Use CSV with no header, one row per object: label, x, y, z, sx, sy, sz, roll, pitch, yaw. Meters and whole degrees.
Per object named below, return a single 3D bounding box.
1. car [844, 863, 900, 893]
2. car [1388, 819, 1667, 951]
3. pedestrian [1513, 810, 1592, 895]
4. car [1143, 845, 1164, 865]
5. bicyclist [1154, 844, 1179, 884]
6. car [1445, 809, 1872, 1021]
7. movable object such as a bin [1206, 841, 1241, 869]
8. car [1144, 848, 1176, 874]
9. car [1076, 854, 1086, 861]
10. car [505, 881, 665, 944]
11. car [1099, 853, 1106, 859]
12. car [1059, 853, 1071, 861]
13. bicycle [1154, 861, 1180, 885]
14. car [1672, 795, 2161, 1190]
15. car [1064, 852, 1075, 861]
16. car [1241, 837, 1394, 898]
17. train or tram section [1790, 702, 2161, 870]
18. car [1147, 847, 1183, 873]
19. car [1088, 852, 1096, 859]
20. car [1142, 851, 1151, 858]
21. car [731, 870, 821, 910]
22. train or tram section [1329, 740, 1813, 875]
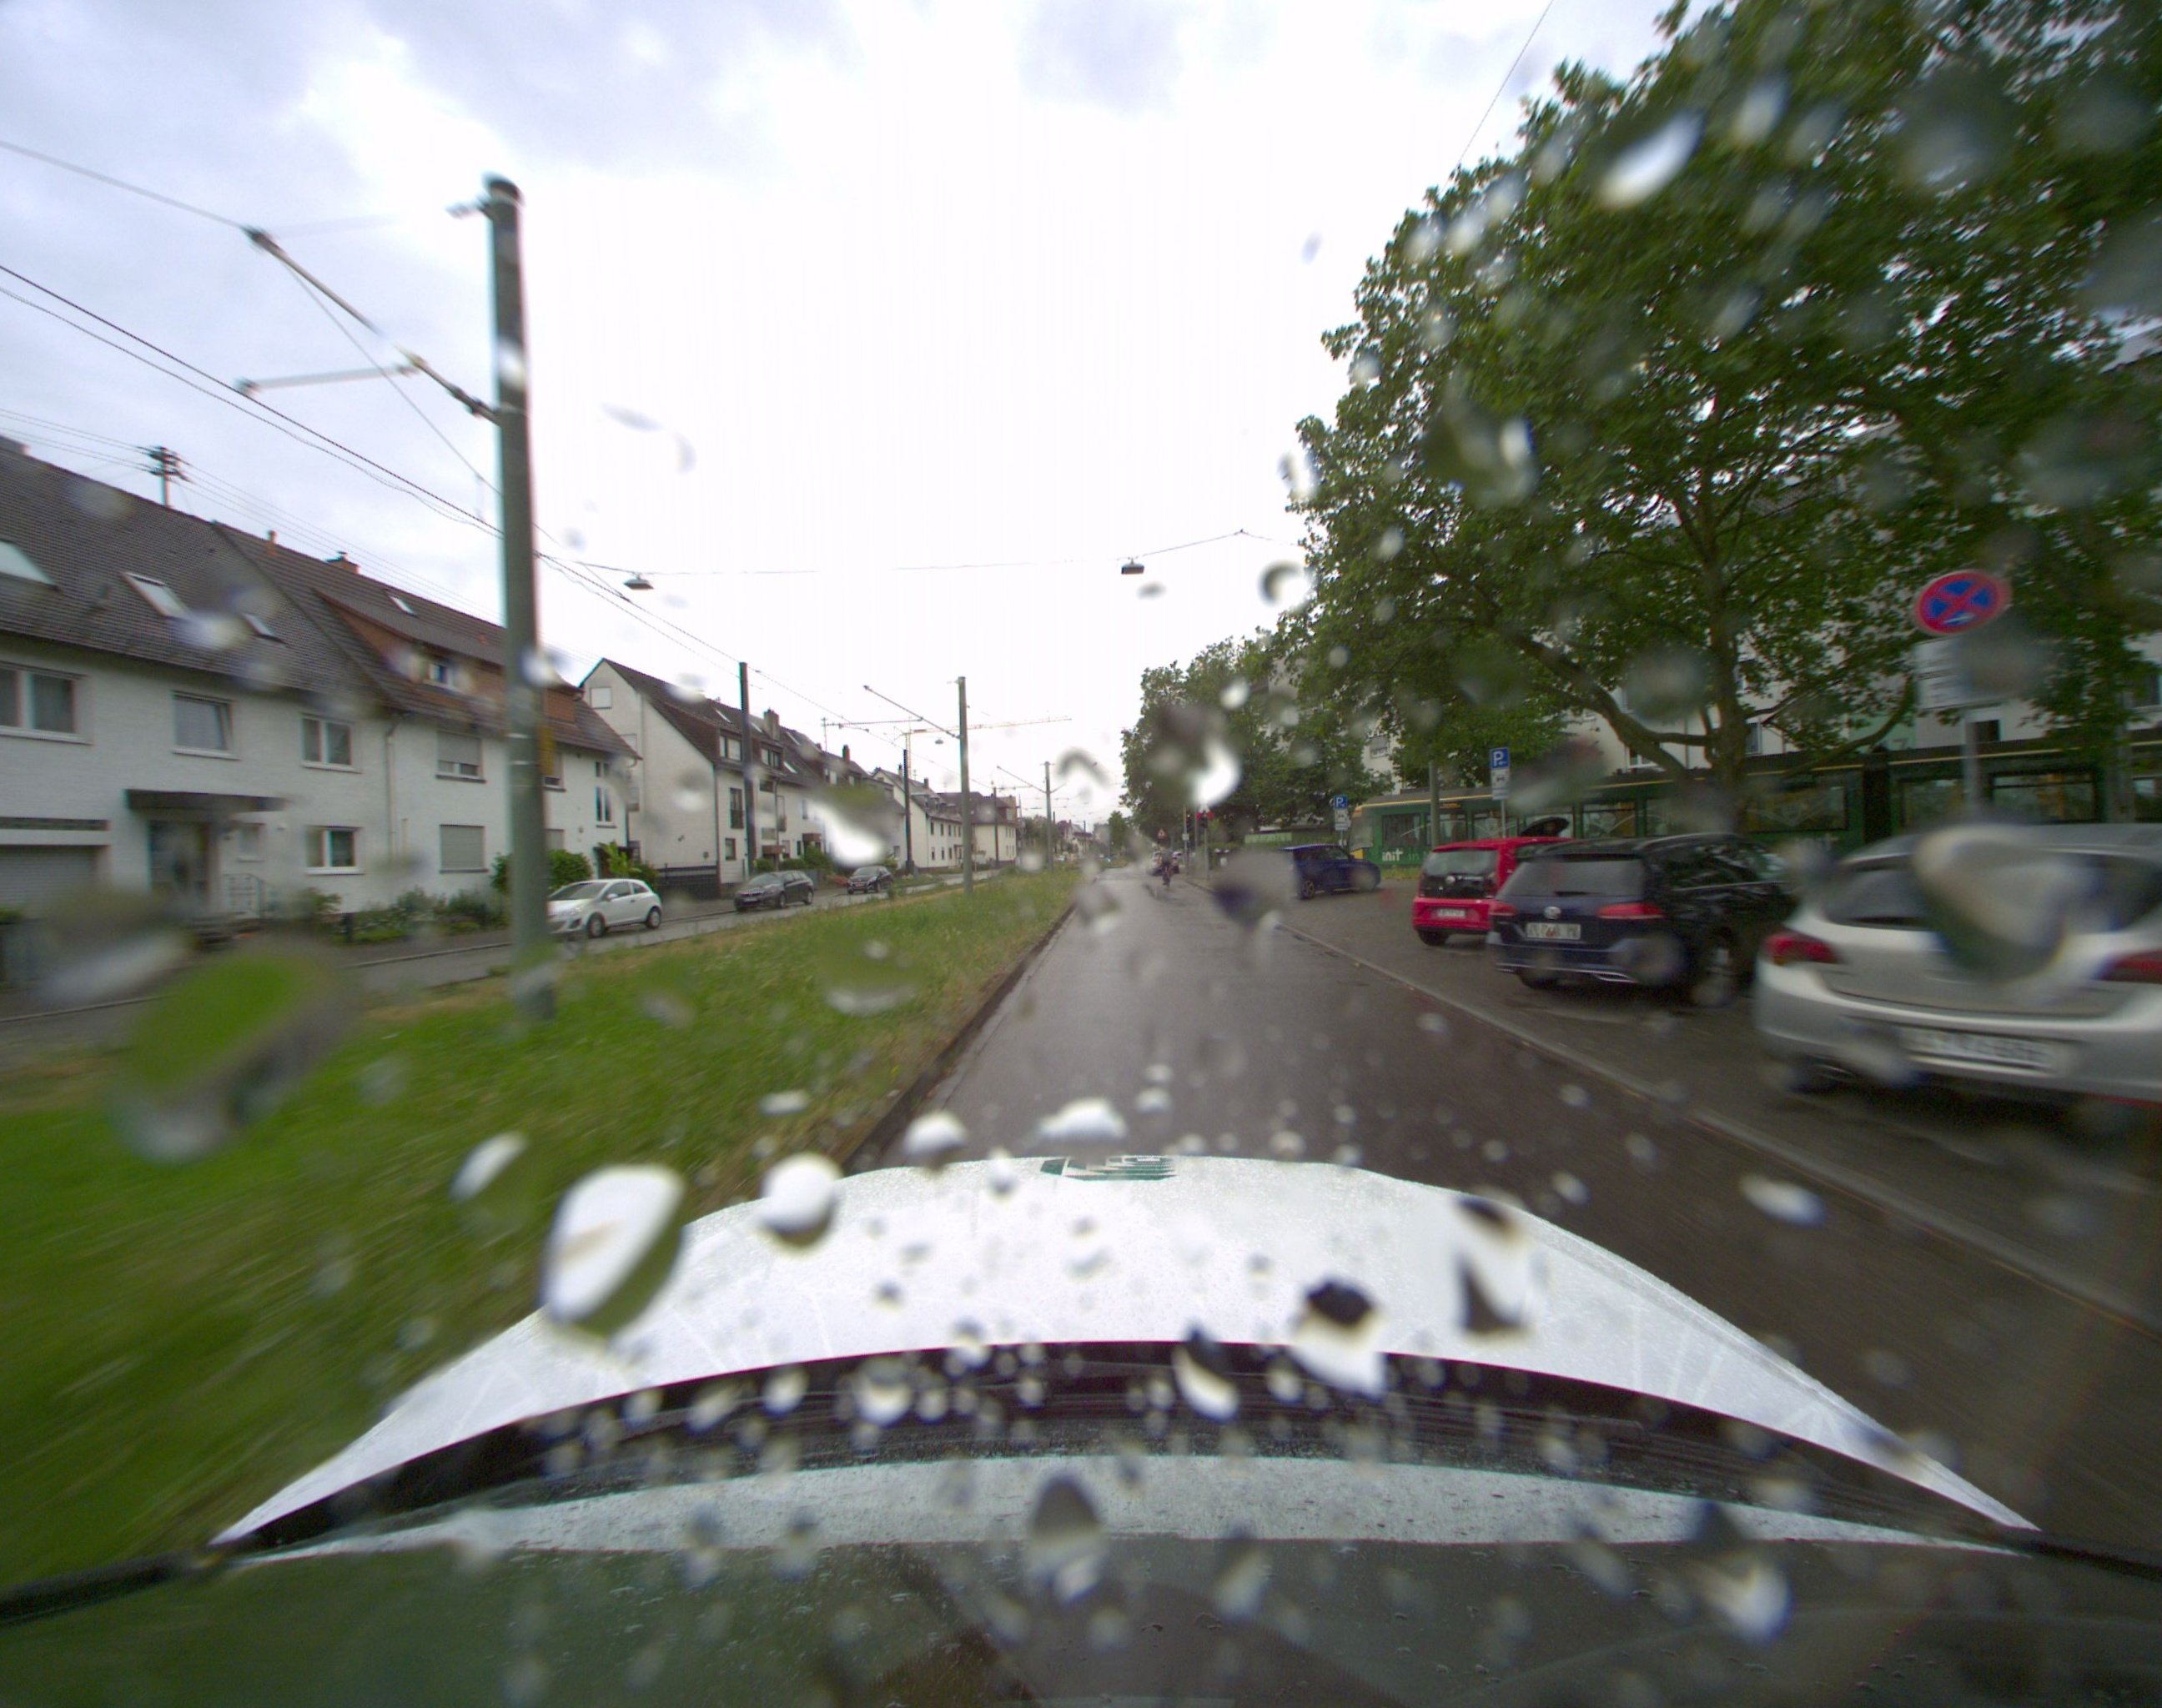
car,-11.556,1.340,45.308,1.869,1.503,4.135,-2,-2,2
car,6.425,0.372,11.721,3.604,1.480,1.625,-4,0,-24
pedestrian,10.161,-0.029,17.598,1.040,1.714,1.081,-3,0,2
car,8.036,0.169,89.998,1.934,2.013,4.001,-4,-1,2
bicyclist,3.489,0.421,33.394,0.828,1.558,0.913,-3,-1,0
car,5.819,0.439,8.118,4.135,1.480,1.848,-4,0,-30
movable object such as a bin,9.022,0.078,51.477,1.555,1.704,1.490,-3,0,-21
car,5.735,0.517,59.271,1.934,1.652,4.001,-4,-1,2
car,-0.001,0.982,201.168,1.985,1.544,4.004,-2,-2,4
car,-12.844,1.456,21.384,1.594,1.424,3.946,-2,-2,3
car,6.552,0.587,248.586,1.985,1.544,4.004,-2,-2,4
car,-3.349,0.651,169.790,1.985,1.544,4.004,-2,-2,4
bicycle,3.508,0.765,33.386,0.818,0.912,1.985,-3,-1,0
car,5.645,0.495,4.881,4.014,1.553,1.941,-4,-1,-32
car,-2.410,0.567,176.230,1.985,1.705,4.004,-2,-2,4
car,6.848,0.336,23.572,4.012,1.483,1.981,-3,1,-29
train or tram section,25.401,-1.580,17.836,2.729,3.590,14.563,0,-1,-40
car,5.486,0.414,53.724,1.947,1.553,4.001,-4,-1,2
car,3.103,0.430,227.090,1.985,1.544,4.004,-2,-2,4
car,15.812,0.231,195.386,1.985,1.492,4.002,-2,-2,3
car,-12.134,1.420,32.743,1.594,1.424,4.669,-2,-2,3
train or tram section,16.013,-1.154,28.934,2.729,3.590,14.563,0,-1,-40
